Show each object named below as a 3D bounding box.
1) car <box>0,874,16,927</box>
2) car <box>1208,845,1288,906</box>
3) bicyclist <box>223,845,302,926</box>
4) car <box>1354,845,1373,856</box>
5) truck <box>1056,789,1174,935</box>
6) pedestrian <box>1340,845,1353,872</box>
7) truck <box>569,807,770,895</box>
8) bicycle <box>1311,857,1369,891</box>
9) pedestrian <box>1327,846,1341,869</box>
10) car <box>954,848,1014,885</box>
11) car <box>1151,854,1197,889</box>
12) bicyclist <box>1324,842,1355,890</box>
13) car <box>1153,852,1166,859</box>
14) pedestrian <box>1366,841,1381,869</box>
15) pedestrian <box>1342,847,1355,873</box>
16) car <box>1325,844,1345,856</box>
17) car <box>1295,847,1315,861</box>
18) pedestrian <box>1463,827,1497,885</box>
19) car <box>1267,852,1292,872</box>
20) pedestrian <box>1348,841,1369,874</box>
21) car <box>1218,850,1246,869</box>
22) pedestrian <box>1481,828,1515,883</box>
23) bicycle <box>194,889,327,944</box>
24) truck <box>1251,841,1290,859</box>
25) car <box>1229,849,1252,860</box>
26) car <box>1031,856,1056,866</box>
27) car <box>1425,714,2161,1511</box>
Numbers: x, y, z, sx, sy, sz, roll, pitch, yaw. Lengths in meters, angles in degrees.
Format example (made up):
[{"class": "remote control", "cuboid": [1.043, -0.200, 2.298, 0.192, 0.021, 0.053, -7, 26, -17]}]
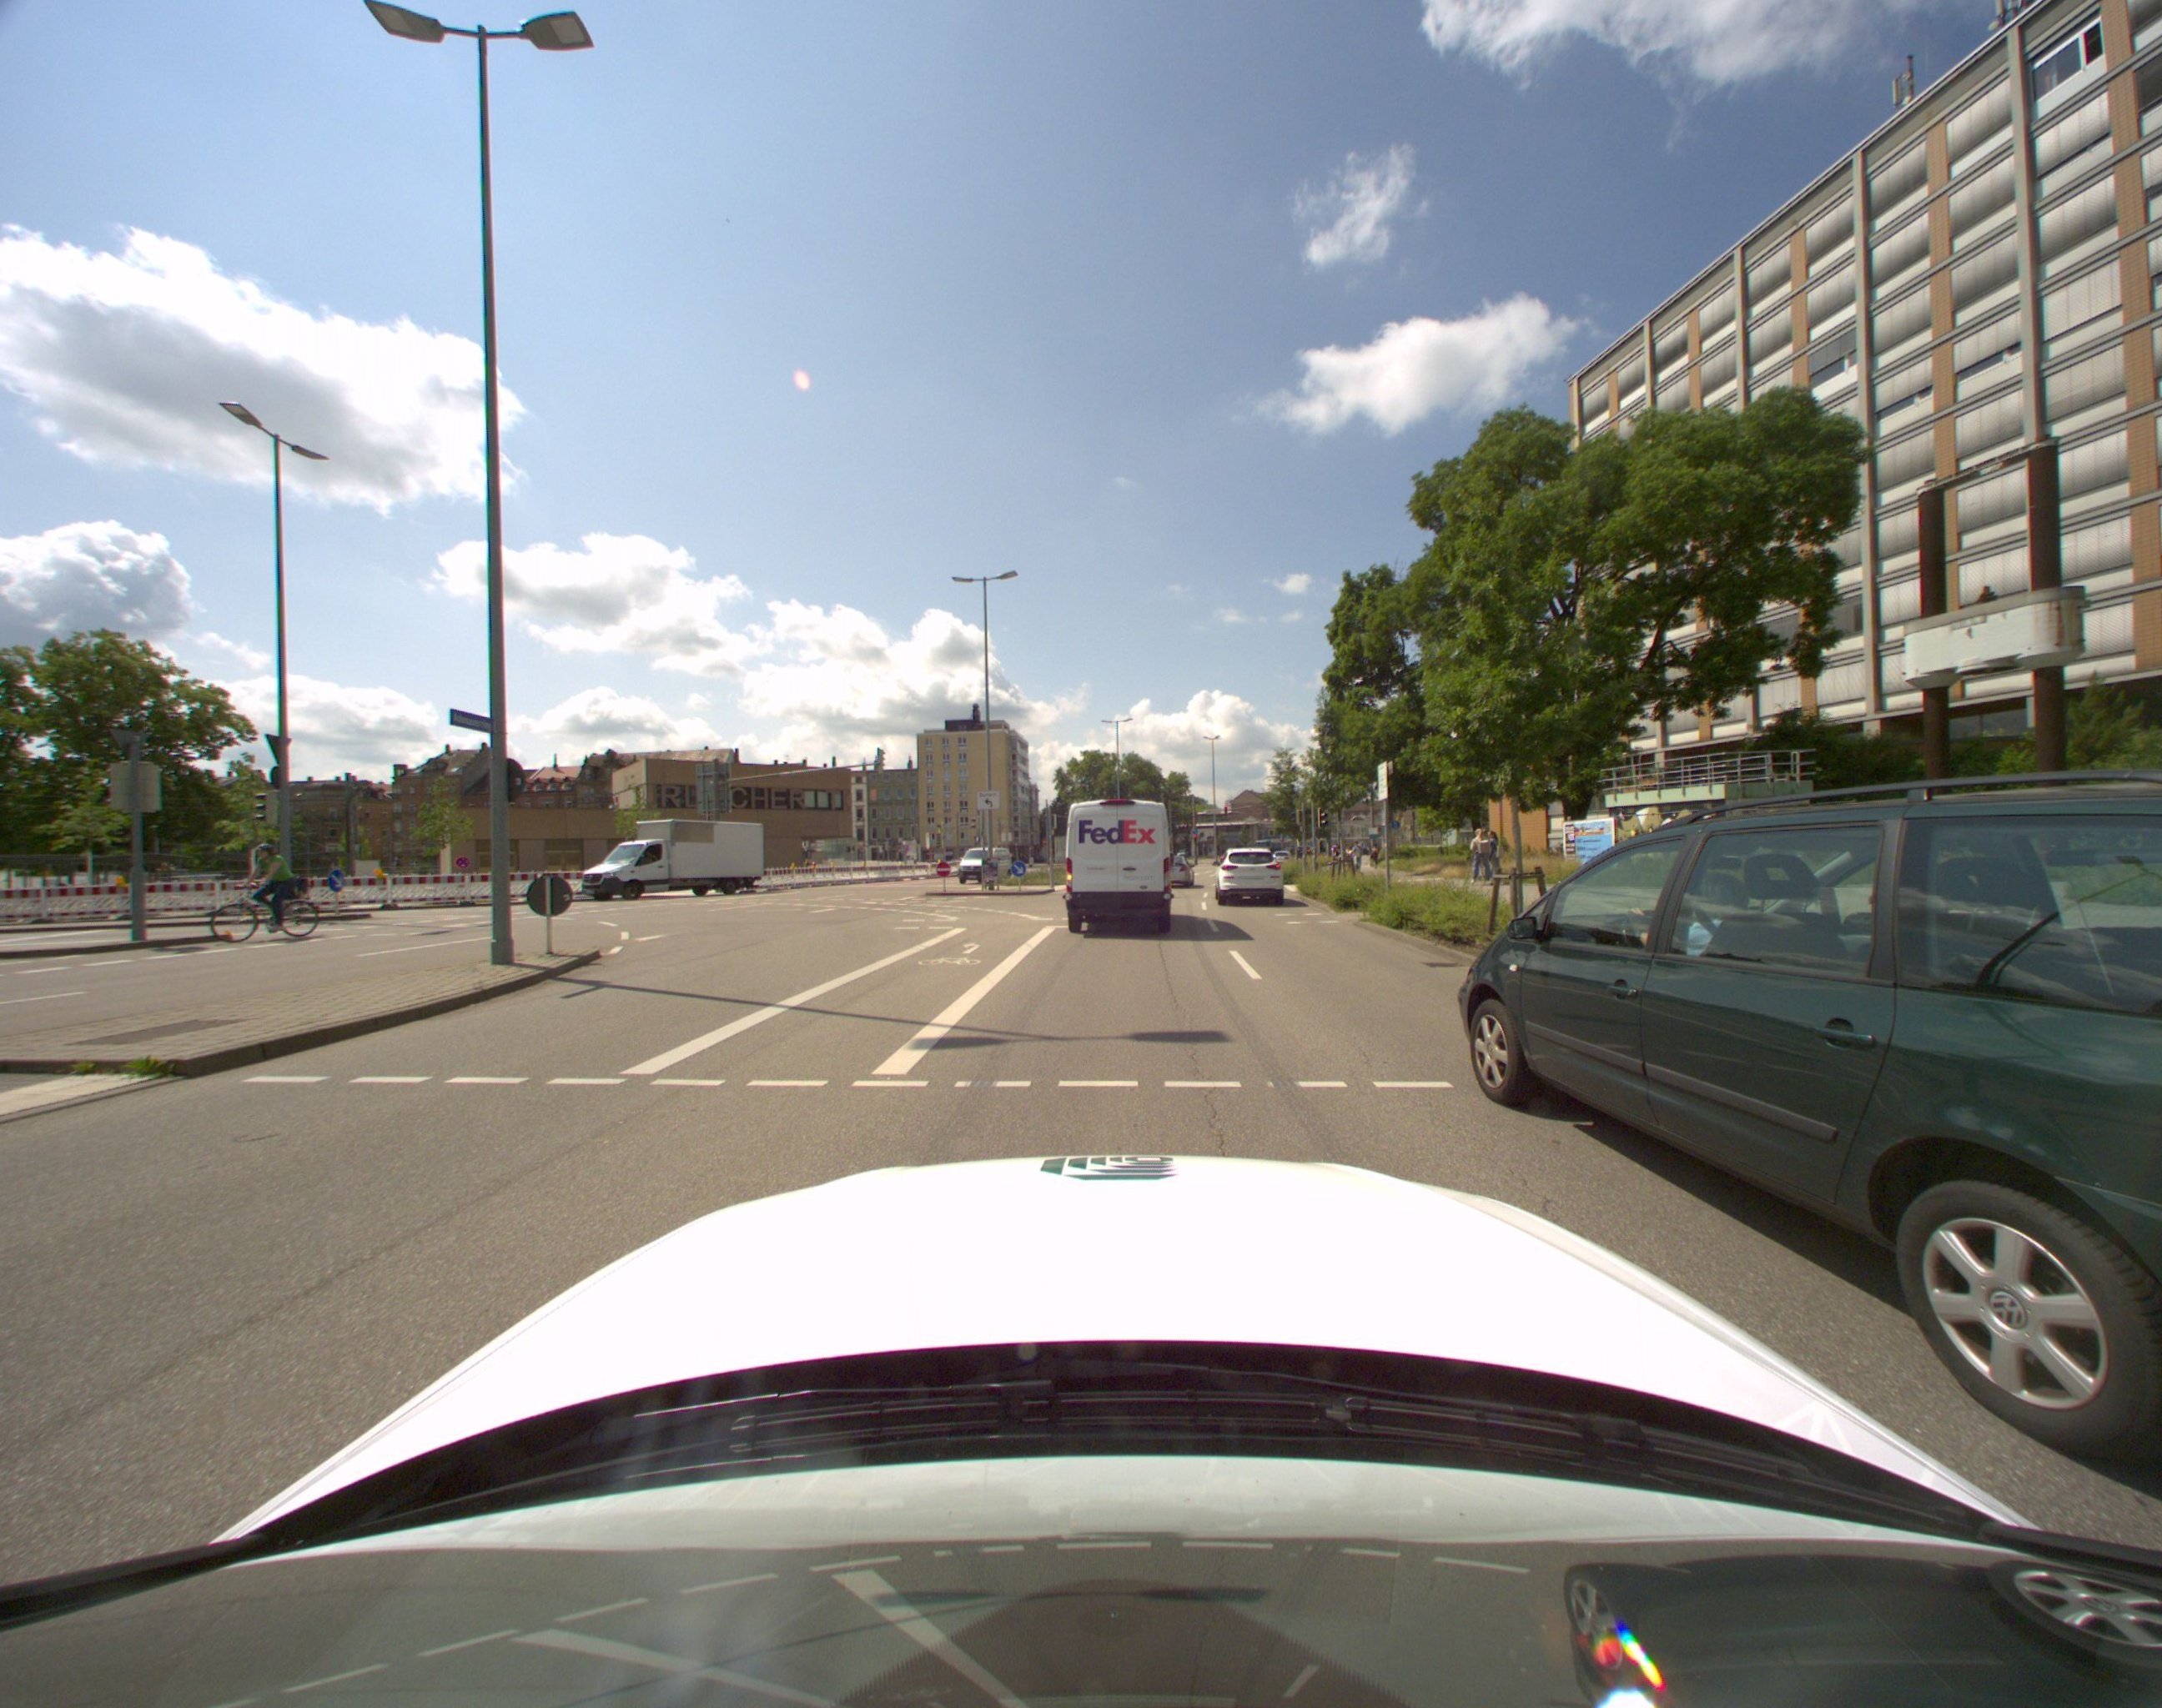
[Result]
[{"class": "car", "cuboid": [-32.046, 1.368, 21.760, 3.898, 1.486, 1.990, -2, 0, -14]}, {"class": "car", "cuboid": [4.935, 0.591, 24.557, 1.872, 1.641, 4.239, -1, 0, 5]}, {"class": "bicyclist", "cuboid": [-15.273, 0.569, 15.212, 0.562, 1.461, 0.839, -2, 0, 7]}, {"class": "car", "cuboid": [43.551, -0.561, 125.444, 1.863, 1.641, 3.982, -1, 0, 32]}, {"class": "truck", "cuboid": [0.932, 0.168, 17.753, 2.126, 2.640, 5.927, 0, 0, 6]}, {"class": "pedestrian", "cuboid": [16.039, 0.284, 49.155, 0.584, 1.626, 0.729, 0, -1, 5]}, {"class": "truck", "cuboid": [-15.966, -0.056, 32.320, 1.975, 3.068, 7.373, -1, -1, 26]}, {"class": "bicycle", "cuboid": [9.168, 0.714, 28.902, 1.802, 1.050, 0.592, -4, -2, 3]}, {"class": "pedestrian", "cuboid": [18.133, 0.257, 58.345, 0.753, 1.590, 0.761, 0, -1, -1]}, {"class": "car", "cuboid": [-5.324, 0.631, 45.266, 1.869, 1.894, 4.884, -1, 0, 10]}, {"class": "car", "cuboid": [4.225, 0.750, 36.585, 1.730, 1.391, 4.191, -1, 0, 10]}, {"class": "bicyclist", "cuboid": [9.176, 0.428, 28.909, 0.824, 1.601, 0.580, -4, -2, 3]}, {"class": "car", "cuboid": [17.955, 0.390, 186.404, 1.977, 1.574, 4.197, -1, -1, 18]}, {"class": "pedestrian", "cuboid": [19.286, 0.082, 53.673, 0.752, 1.821, 0.675, 0, -1, 6]}, {"class": "pedestrian", "cuboid": [17.402, 0.368, 53.027, 0.645, 1.626, 0.778, -4, -2, 20]}, {"class": "car", "cuboid": [36.985, -0.534, 118.457, 1.863, 1.641, 3.982, -1, 0, 32]}, {"class": "car", "cuboid": [28.133, -0.039, 102.117, 1.864, 1.641, 3.979, -1, 0, 24]}, {"class": "pedestrian", "cuboid": [12.829, 0.064, 26.206, 0.746, 1.802, 0.610, -3, 0, 3]}, {"class": "car", "cuboid": [17.726, 0.674, 72.569, 1.866, 1.641, 3.975, -1, 0, 17]}, {"class": "pedestrian", "cuboid": [15.722, 0.210, 46.173, 0.754, 1.821, 0.780, -5, -1, -1]}, {"class": "car", "cuboid": [14.656, 0.517, 78.963, 1.912, 1.641, 4.816, -1, 0, 19]}, {"class": "pedestrian", "cuboid": [13.635, 0.038, 26.626, 0.746, 1.752, 0.610, -3, 0, 3]}, {"class": "bicycle", "cuboid": [-15.259, 1.139, 15.214, 0.564, 0.889, 1.747, -2, 0, 8]}, {"class": "truck", "cuboid": [32.733, -0.674, 140.529, 2.857, 2.852, 8.848, -2, 0, 39]}, {"class": "car", "cuboid": [27.916, 0.067, 142.442, 1.701, 1.800, 4.770, -3, -1, 41]}, {"class": "car", "cuboid": [-6.656, 1.290, 143.945, 4.083, 1.665, 1.872, 0, -1, 6]}, {"class": "car", "cuboid": [3.291, 0.564, 3.579, 1.787, 1.723, 4.450, 1, 0, 2]}]
